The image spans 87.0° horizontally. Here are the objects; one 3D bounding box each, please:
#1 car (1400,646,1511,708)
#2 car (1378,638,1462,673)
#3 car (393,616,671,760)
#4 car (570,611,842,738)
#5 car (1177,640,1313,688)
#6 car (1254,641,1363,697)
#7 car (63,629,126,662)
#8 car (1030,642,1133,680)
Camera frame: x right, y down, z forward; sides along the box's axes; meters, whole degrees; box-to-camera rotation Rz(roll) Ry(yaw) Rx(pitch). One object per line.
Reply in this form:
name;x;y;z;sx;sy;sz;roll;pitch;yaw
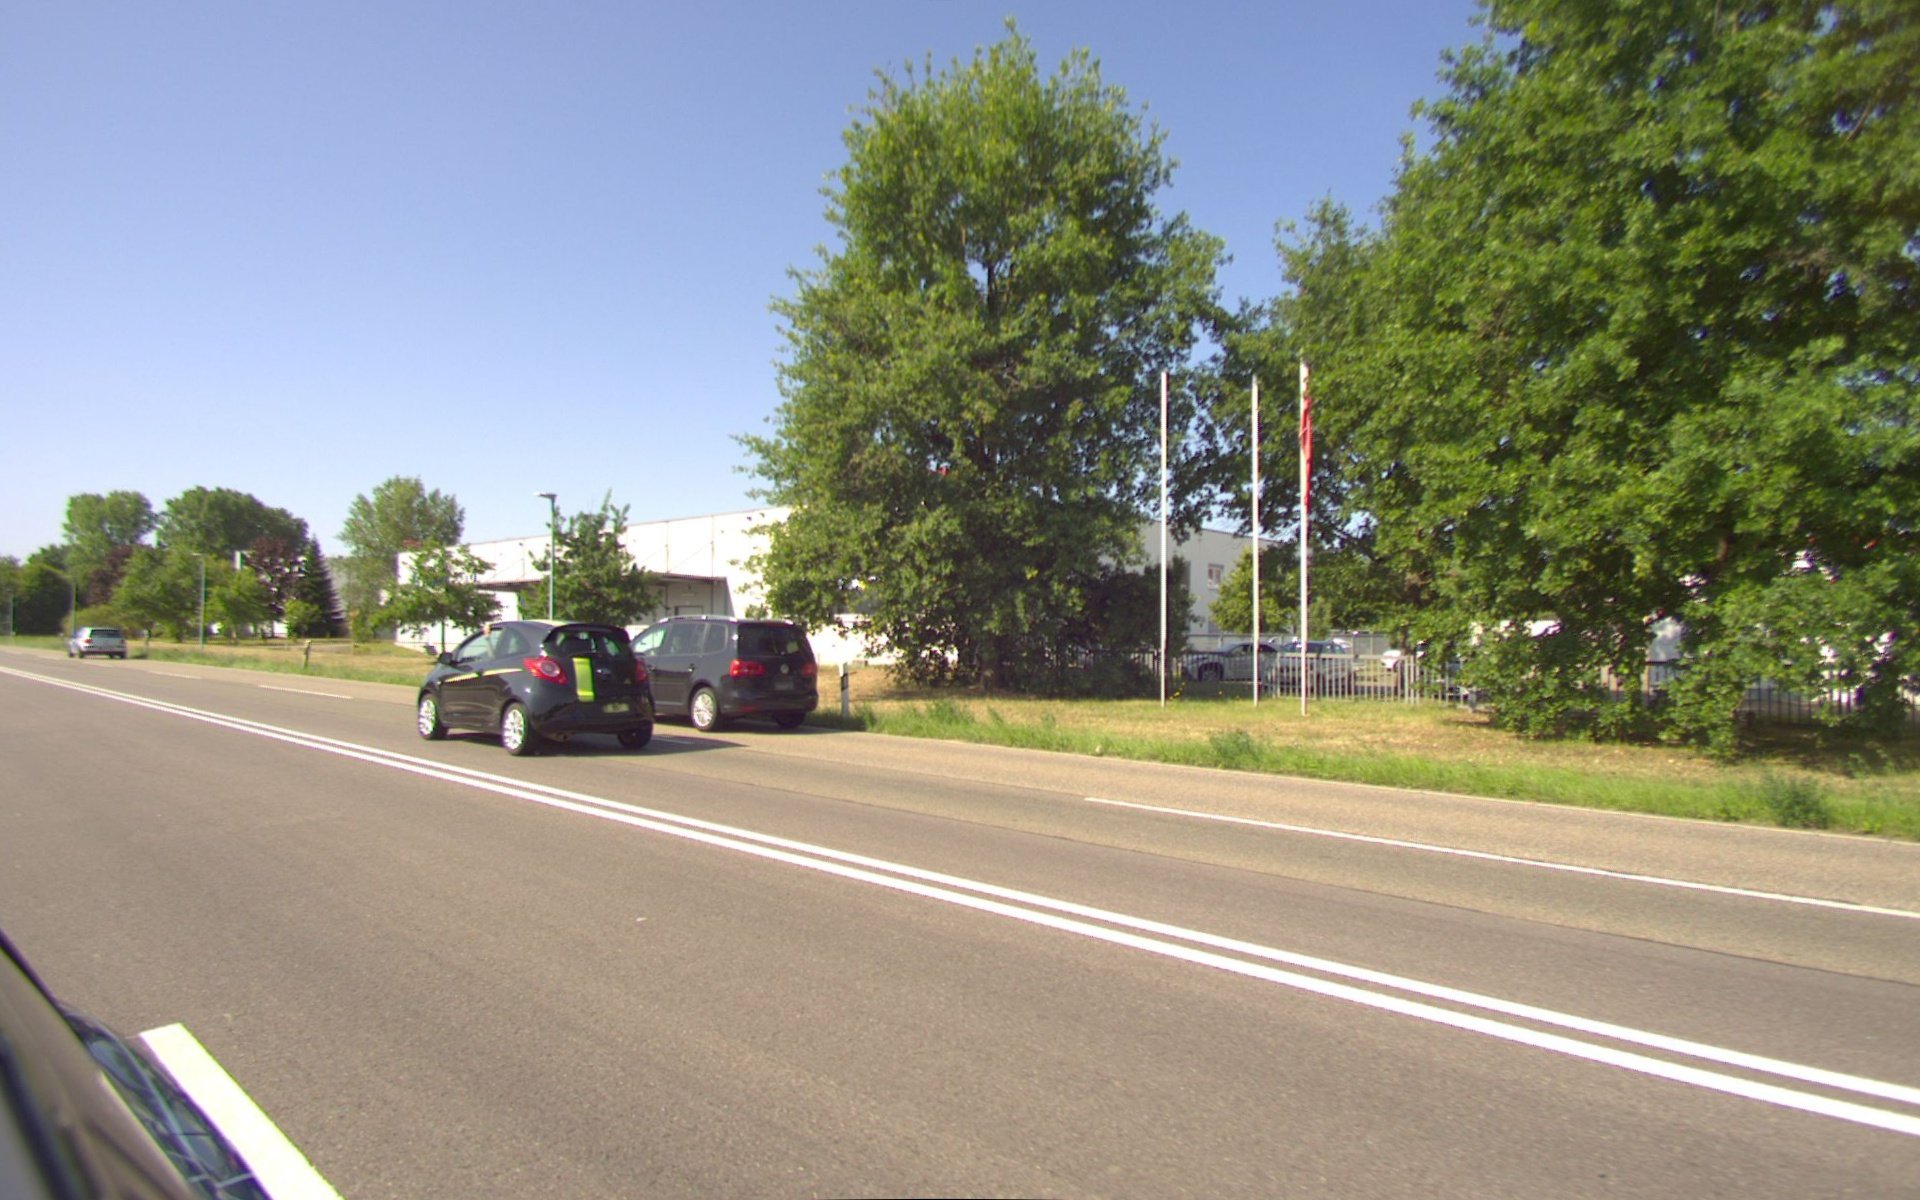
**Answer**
car;13.442;2.022;27.356;1.756;1.512;3.946;-1;-3;40
car;21.827;2.616;48.101;3.345;1.571;1.464;0;-2;9
car;-5.197;0.971;12.089;3.773;1.461;1.501;-1;-4;41
car;-4.005;1.083;15.620;4.386;1.684;1.807;-1;-4;40
car;9.332;2.090;33.350;3.941;1.512;1.741;1;-2;-2
car;10.417;1.999;30.116;1.756;1.512;3.946;-1;-3;40
car;-40.152;2.084;46.927;3.997;1.453;1.581;-1;-4;41
car;4.709;2.341;39.469;3.720;1.400;1.619;-1;-3;41
